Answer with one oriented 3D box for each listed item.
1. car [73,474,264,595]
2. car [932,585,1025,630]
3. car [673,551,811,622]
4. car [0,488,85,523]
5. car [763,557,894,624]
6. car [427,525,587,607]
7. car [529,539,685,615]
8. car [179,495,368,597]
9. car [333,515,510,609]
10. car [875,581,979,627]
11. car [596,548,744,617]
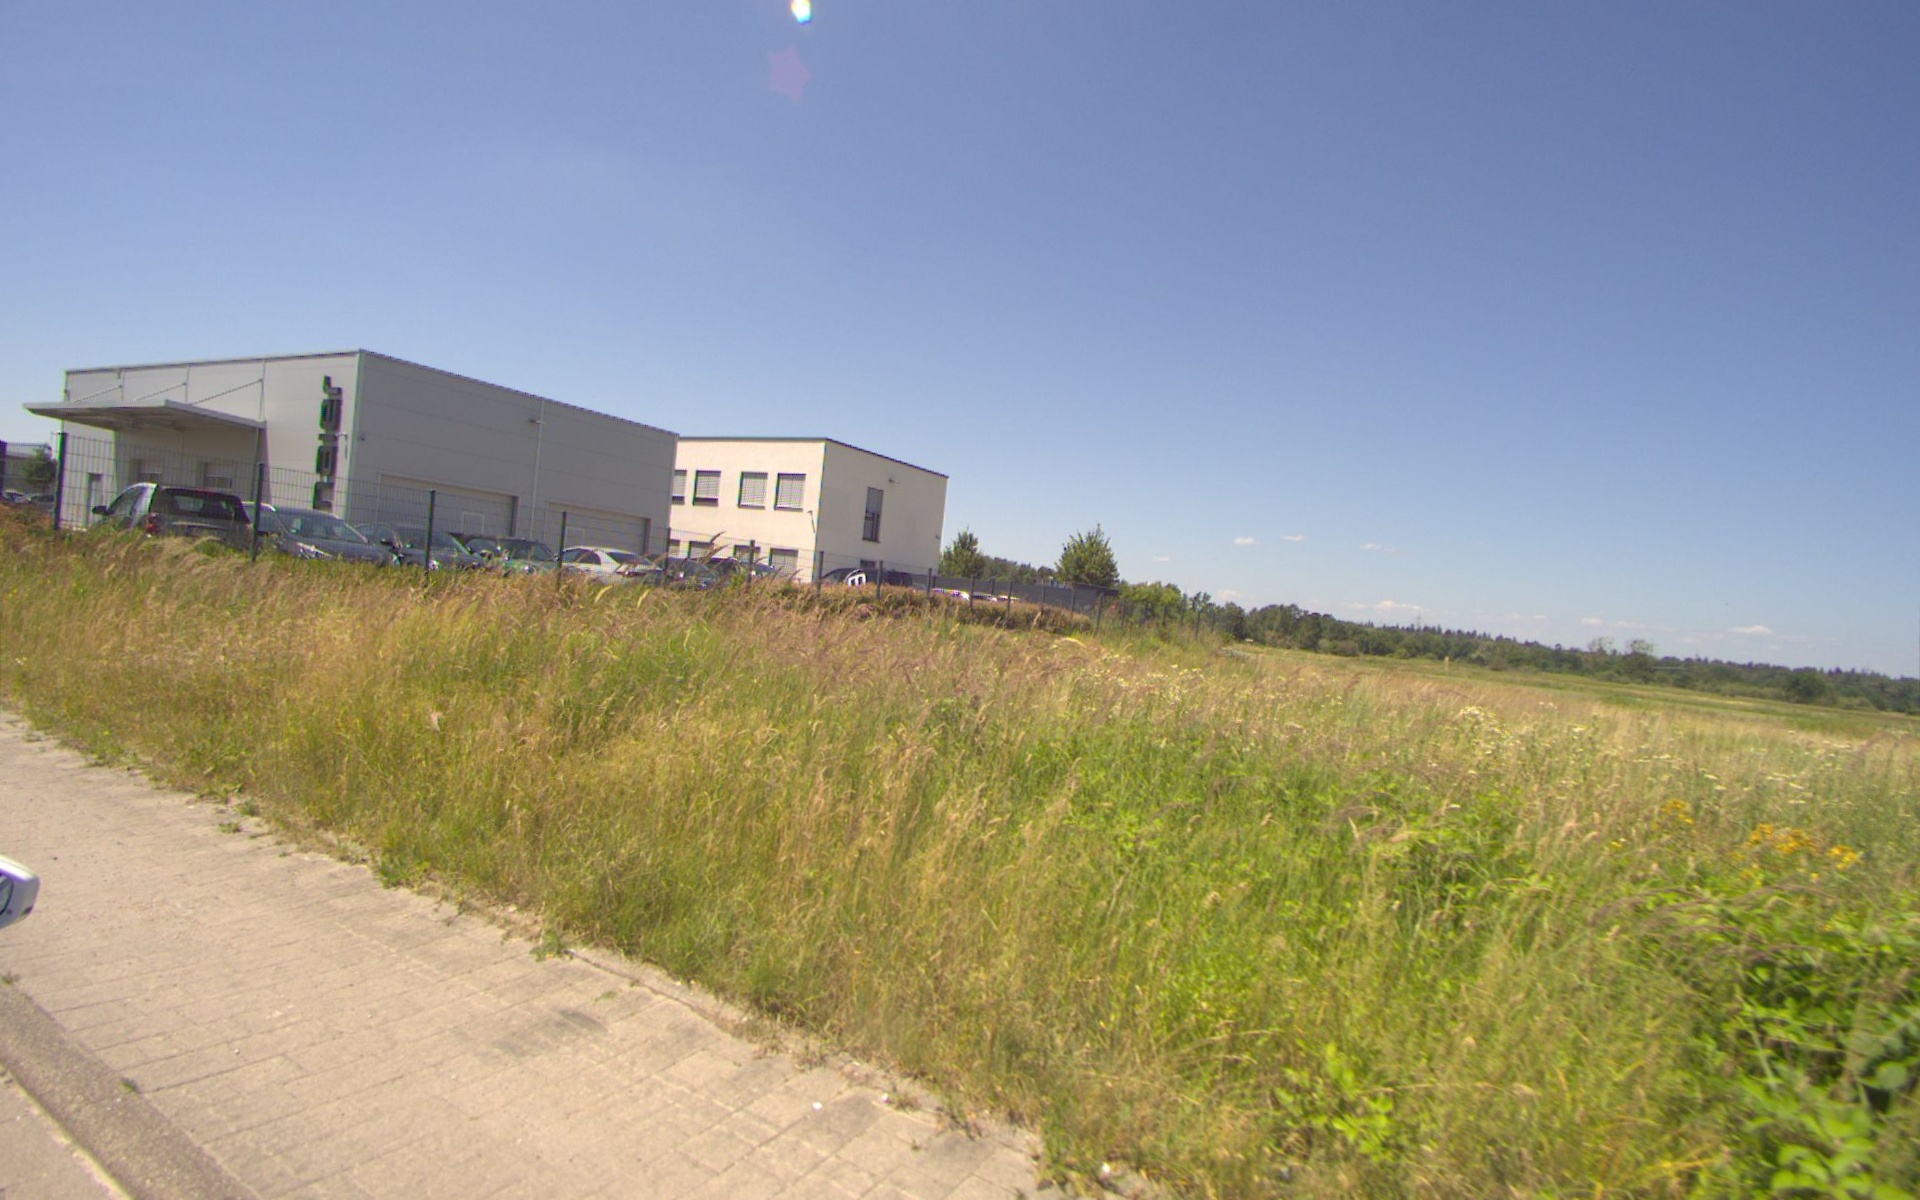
[{"bbox_3d":[-12.364,-1.025,15.700,2.618,1.594,1.467,6,1,32],"label":"car"},{"bbox_3d":[0.778,0.310,43.194,3.587,1.546,1.527,6,1,31],"label":"car"},{"bbox_3d":[-6.288,-0.390,28.874,3.720,1.654,1.516,6,1,31],"label":"car"},{"bbox_3d":[-48.617,-4.986,52.543,1.788,1.421,3.990,6,1,31],"label":"car"},{"bbox_3d":[-4.479,-0.328,34.068,4.057,1.870,1.750,6,1,31],"label":"car"},{"bbox_3d":[-9.783,-0.741,21.678,3.276,1.431,1.458,6,1,31],"label":"car"},{"bbox_3d":[-8.330,-0.547,23.683,3.481,1.415,1.516,6,1,31],"label":"car"},{"bbox_3d":[-12.463,-0.991,18.246,3.276,1.515,1.516,6,1,31],"label":"car"},{"bbox_3d":[-10.638,-0.763,19.847,3.276,1.515,1.516,6,1,31],"label":"car"},{"bbox_3d":[-1.271,0.157,38.095,3.587,1.366,1.527,6,1,31],"label":"car"},{"bbox_3d":[-7.645,-0.470,26.457,3.720,1.449,1.516,6,1,31],"label":"car"}]
